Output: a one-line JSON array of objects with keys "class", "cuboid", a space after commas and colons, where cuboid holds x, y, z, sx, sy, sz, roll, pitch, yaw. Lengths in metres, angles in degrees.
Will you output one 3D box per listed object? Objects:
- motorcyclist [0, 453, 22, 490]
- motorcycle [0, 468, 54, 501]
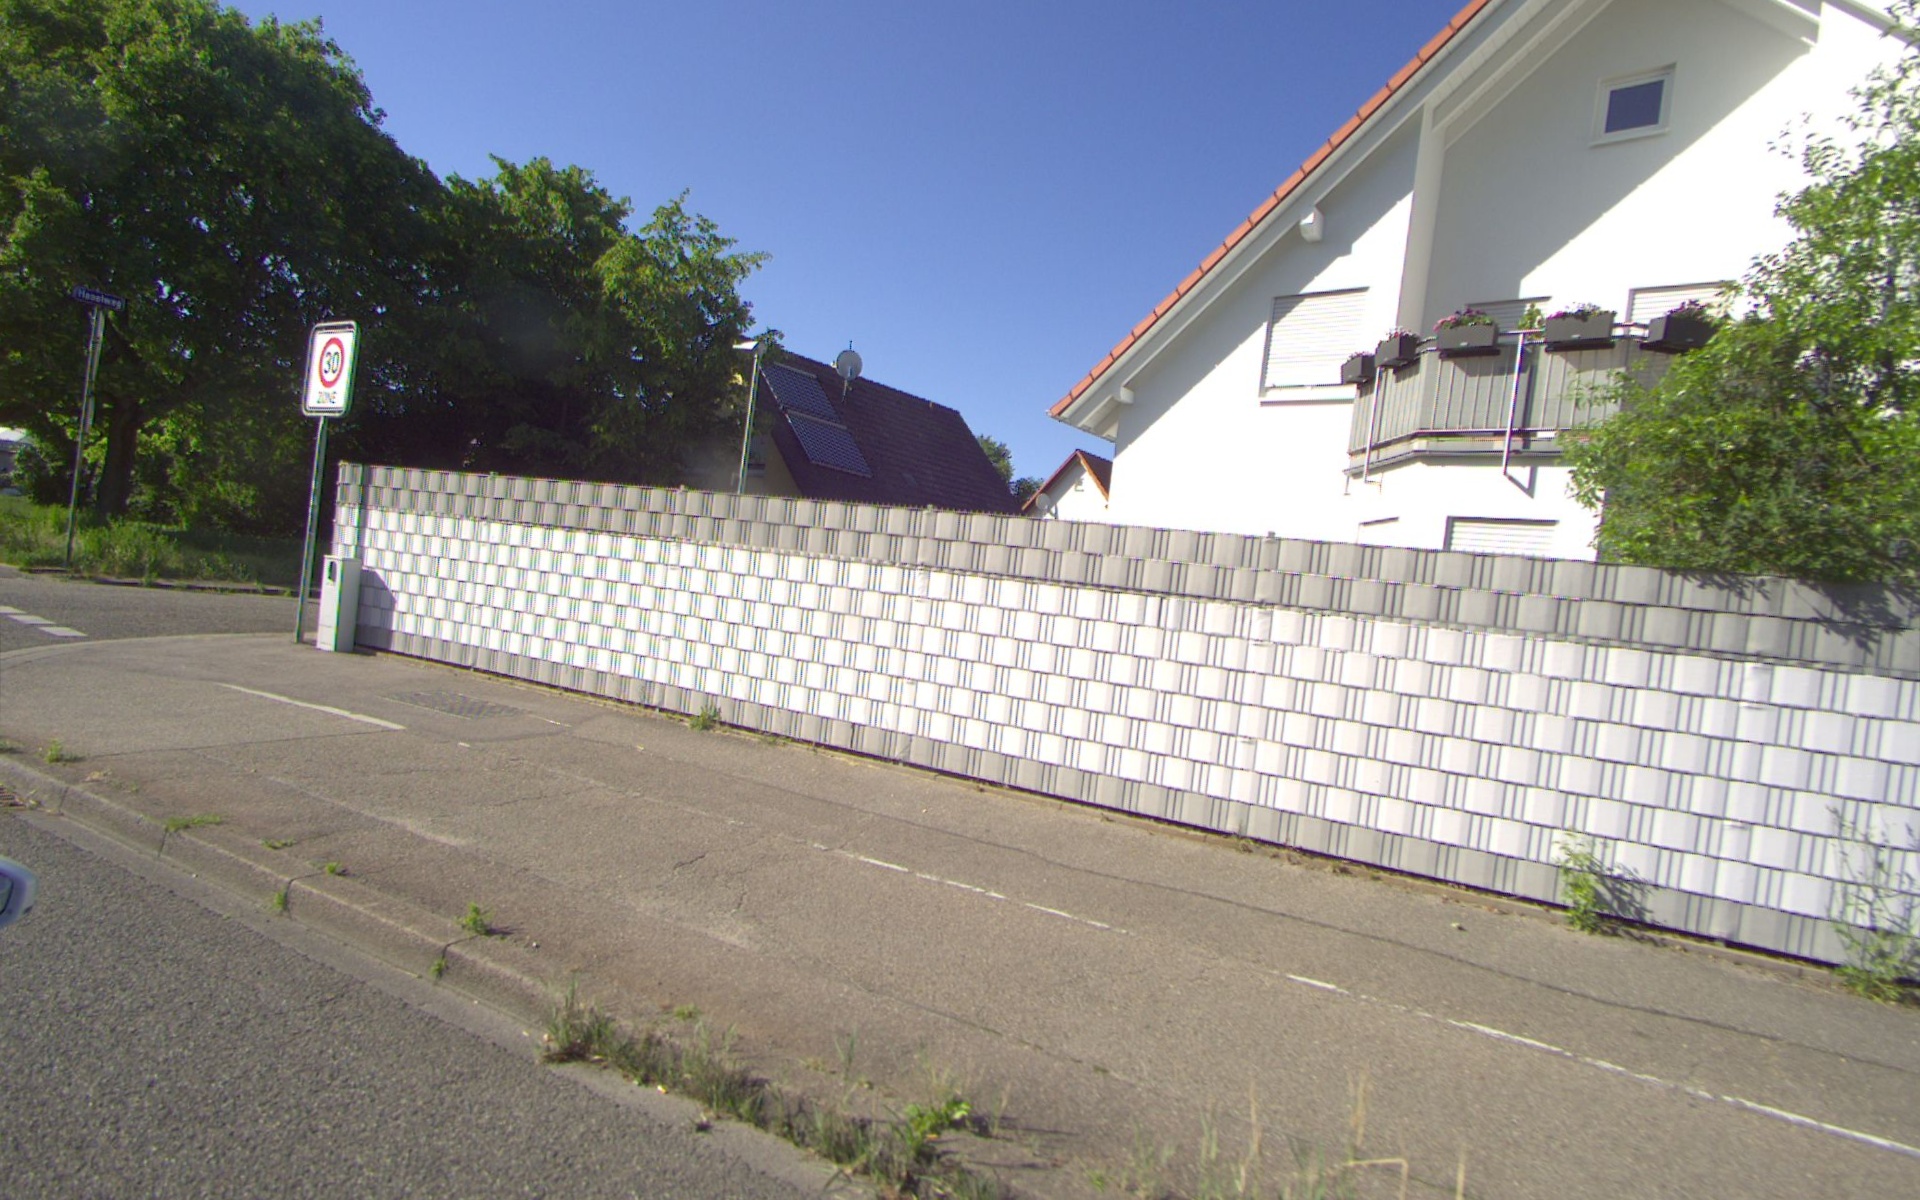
[{"class": "motorcyclist", "cuboid": [-48.294, -6.504, 51.027, 0.823, 1.699, 0.858, 7, -1, 44]}, {"class": "motorcycle", "cuboid": [-48.126, -5.955, 51.307, 0.823, 1.285, 2.721, 7, -2, 44]}]
